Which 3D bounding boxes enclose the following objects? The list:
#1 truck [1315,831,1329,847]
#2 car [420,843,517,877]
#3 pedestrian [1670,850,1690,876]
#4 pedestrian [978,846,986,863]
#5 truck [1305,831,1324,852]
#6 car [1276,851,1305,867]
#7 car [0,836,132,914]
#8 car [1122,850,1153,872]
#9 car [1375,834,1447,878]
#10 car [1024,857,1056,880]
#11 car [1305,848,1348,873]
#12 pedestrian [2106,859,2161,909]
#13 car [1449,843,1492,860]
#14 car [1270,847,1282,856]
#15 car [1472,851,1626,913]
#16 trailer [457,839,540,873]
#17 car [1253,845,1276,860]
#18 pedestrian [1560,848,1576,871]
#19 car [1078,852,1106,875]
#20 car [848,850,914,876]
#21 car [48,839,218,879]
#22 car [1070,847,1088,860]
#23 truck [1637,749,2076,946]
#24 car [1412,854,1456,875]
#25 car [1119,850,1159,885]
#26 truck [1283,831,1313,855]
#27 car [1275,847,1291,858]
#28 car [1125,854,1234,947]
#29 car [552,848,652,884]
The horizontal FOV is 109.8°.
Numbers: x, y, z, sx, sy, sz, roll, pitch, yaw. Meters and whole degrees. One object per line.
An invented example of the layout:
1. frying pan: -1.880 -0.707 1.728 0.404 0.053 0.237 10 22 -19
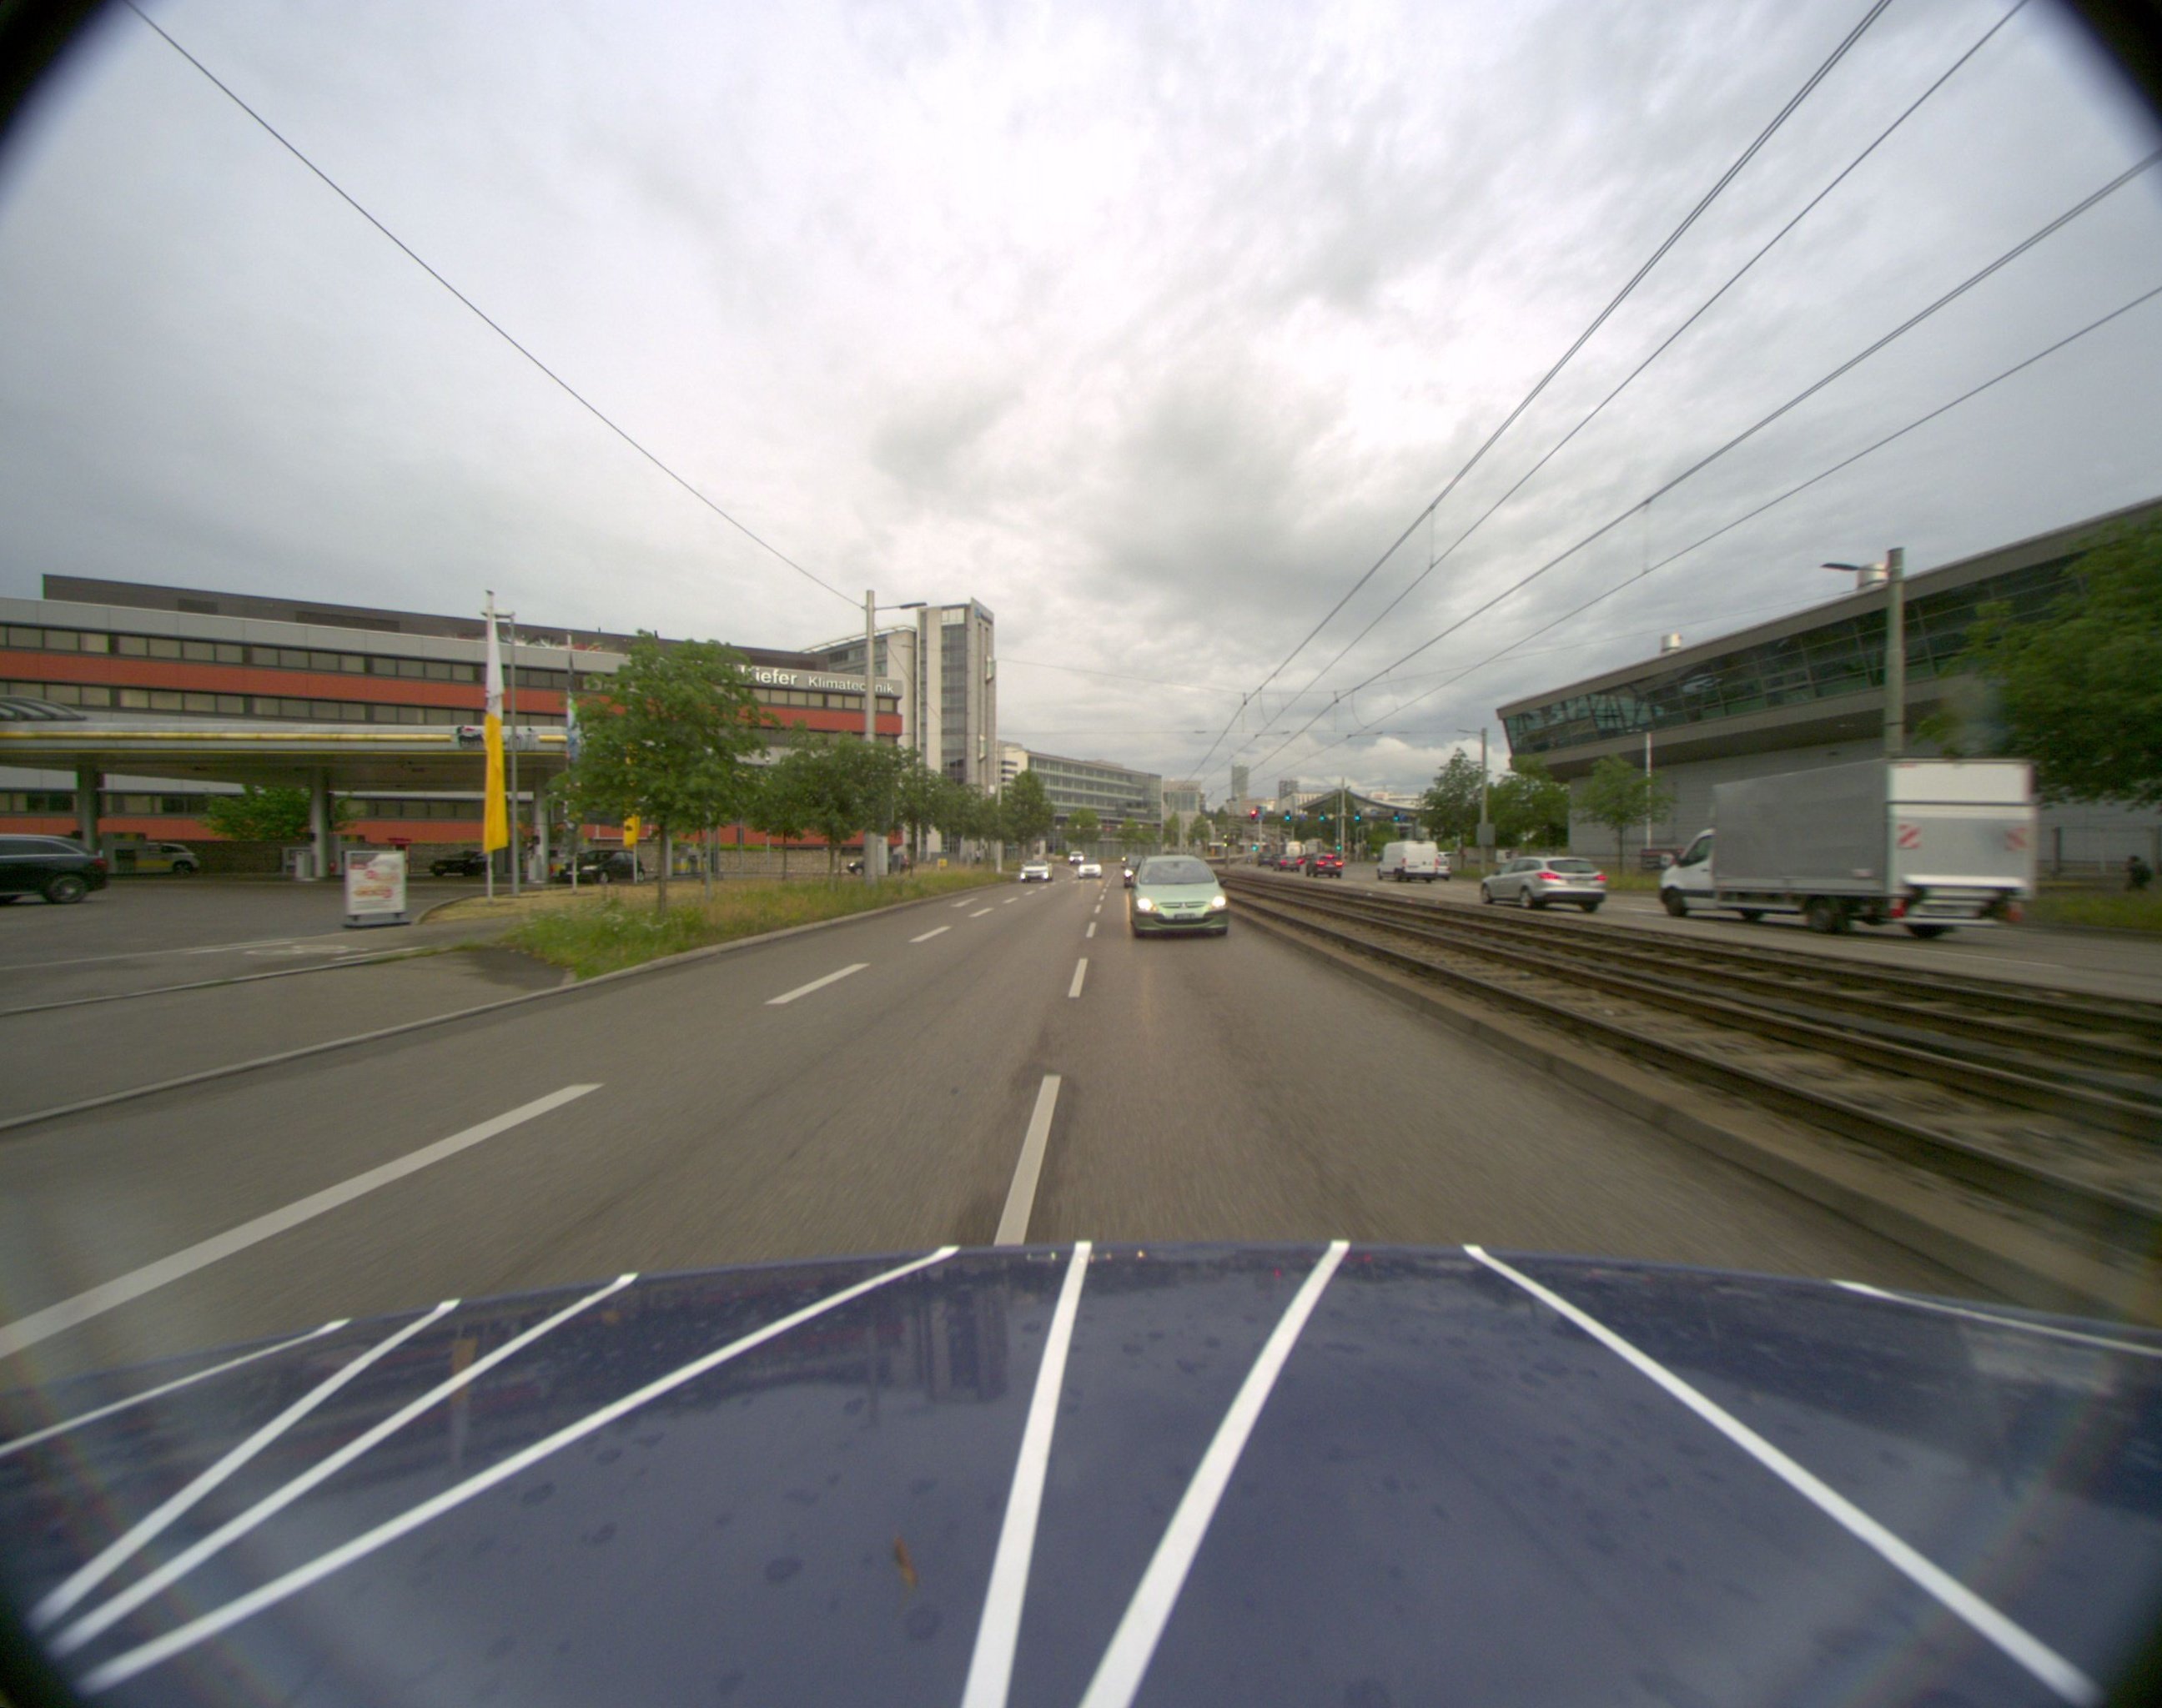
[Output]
1. truck: 66.559 -4.089 209.838 3.381 4.115 7.641 0 0 20
2. car: -32.877 0.277 40.923 1.902 1.640 4.000 4 1 1
3. pedestrian: 35.144 0.510 44.591 0.549 1.489 0.758 -3 1 5
4. pedestrian: -11.337 0.069 87.155 0.683 1.890 0.677 -3 1 -23
5. truck: 51.470 -2.751 167.215 3.261 4.503 7.104 0 0 23
6. car: 19.356 0.432 70.410 1.951 1.476 4.998 0 0 8
7. car: -24.999 0.448 16.801 1.998 1.726 4.718 1 1 4
8. car: 4.068 0.483 55.346 1.762 1.535 3.713 -3 1 -3
9. car: 20.595 0.115 47.758 2.437 2.486 6.551 1 0 8
10. car: -2.727 0.941 51.176 1.878 1.485 3.836 -1 0 1
11. car: 17.129 0.417 53.158 1.912 1.647 4.362 2 0 6
12. pedestrian: 31.763 0.895 22.929 0.609 1.431 0.745 -3 1 -2
13. car: 44.048 -0.301 85.928 3.866 1.815 1.816 0 0 4
14. car: 32.125 -0.406 125.042 1.819 1.565 4.004 0 0 14
15. car: 13.010 0.716 21.497 1.809 1.490 4.442 2 0 4
16. trailer: -37.880 0.134 49.528 4.005 2.134 1.835 0 1 -24
17. car: 22.350 -0.170 92.857 1.998 1.721 4.680 1 0 5
18. pedestrian: 33.334 0.393 52.020 0.684 1.554 0.627 -3 1 3
19. car: 0.843 0.688 55.531 1.818 1.584 3.837 -1 0 3
20. car: -14.668 0.632 55.701 4.364 1.637 1.791 -3 1 -22
21. car: -43.723 0.196 35.246 1.998 1.655 4.600 -3 1 1
22. car: -0.243 -0.065 99.017 1.889 1.584 3.983 0 0 7
23. truck: 15.982 -0.126 16.706 2.733 3.338 7.155 2 0 6
24. car: 24.581 0.722 53.081 1.751 1.392 4.003 1 0 9
25. car: 2.768 0.623 36.824 1.761 1.535 3.715 -3 1 3
26. truck: 34.078 -1.672 119.696 4.085 3.734 10.865 0 0 14
27. car: 27.769 -0.228 104.547 1.798 1.437 3.926 0 0 9
28. car: 1.816 0.806 15.203 1.762 1.489 4.137 -3 1 3
29. car: -20.456 0.490 32.616 1.783 1.410 3.782 1 0 2
